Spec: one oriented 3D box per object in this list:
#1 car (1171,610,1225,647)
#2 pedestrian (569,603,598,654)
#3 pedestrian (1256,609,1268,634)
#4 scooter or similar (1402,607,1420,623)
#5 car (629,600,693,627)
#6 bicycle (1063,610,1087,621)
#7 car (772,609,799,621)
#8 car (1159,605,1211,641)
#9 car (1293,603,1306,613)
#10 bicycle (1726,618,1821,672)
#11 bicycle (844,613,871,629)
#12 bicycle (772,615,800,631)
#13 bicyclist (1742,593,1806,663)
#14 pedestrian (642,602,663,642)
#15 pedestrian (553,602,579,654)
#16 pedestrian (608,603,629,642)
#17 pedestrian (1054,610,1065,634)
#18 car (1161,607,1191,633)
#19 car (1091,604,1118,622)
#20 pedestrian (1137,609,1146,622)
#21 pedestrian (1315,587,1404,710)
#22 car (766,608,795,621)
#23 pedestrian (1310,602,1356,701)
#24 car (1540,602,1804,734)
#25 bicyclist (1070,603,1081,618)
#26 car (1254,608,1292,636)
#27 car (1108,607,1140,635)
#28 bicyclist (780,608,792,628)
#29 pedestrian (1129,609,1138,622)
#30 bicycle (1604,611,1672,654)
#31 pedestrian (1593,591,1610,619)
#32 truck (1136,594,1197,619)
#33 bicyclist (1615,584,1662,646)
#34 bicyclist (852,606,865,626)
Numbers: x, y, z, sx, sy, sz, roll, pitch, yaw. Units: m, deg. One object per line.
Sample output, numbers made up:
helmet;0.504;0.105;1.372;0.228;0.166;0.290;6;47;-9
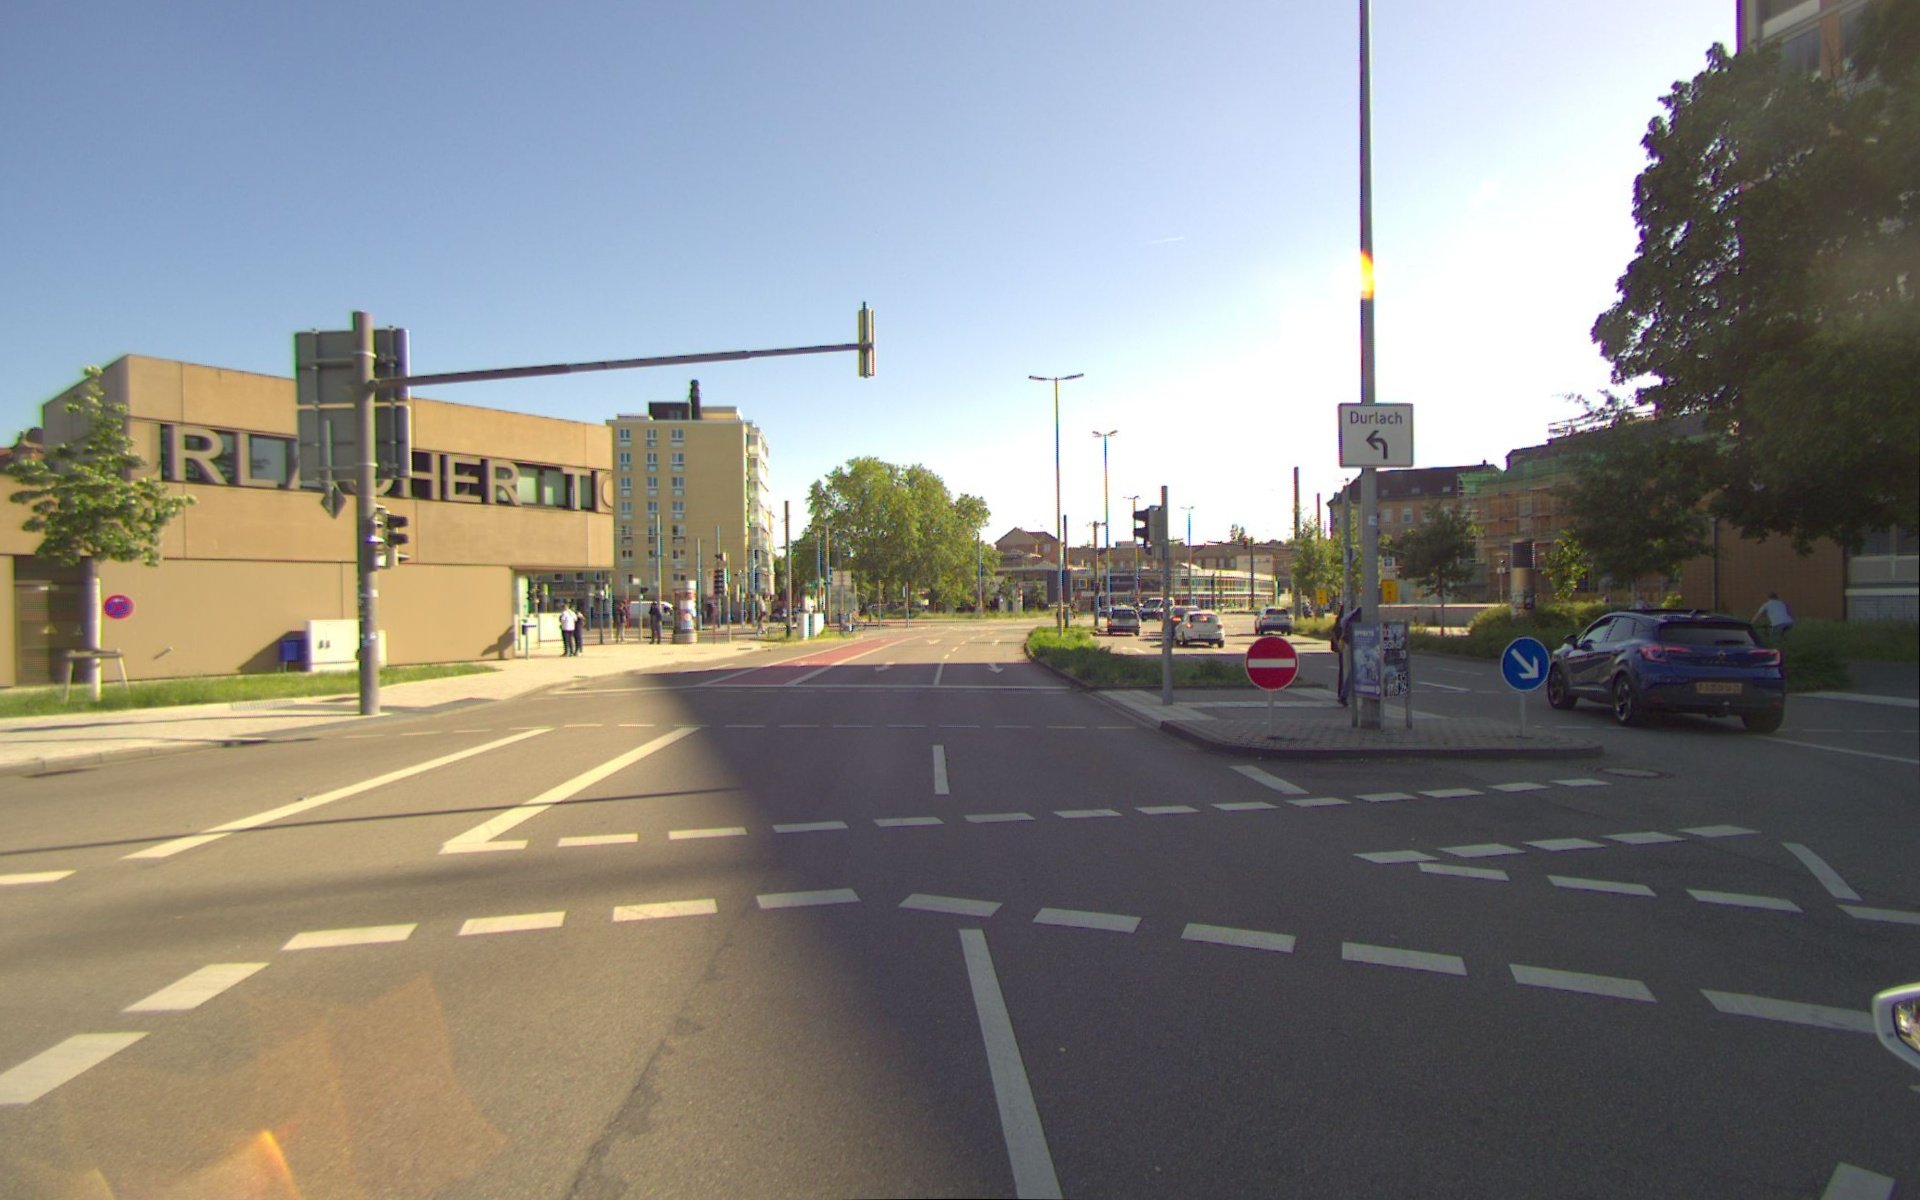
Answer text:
car;9.895;1.172;41.954;1.662;1.455;3.738;-1;0;5
pedestrian;-13.072;0.994;34.870;0.630;1.746;0.749;0;-2;11
pedestrian;21.861;1.546;72.629;0.586;1.746;0.868;-1;-2;36
scooter or similar;29.700;0.994;66.167;0.460;1.026;1.247;-1;2;-11
car;-27.688;1.275;93.029;5.402;2.443;1.998;0;0;-7
bicycle;13.138;1.737;114.739;2.605;1.205;0.946;0;2;-7
car;-21.531;1.828;123.936;3.214;1.334;1.522;0;2;-10
car;10.957;1.095;49.128;1.950;1.645;4.380;-1;0;6
car;58.767;1.406;173.684;1.753;1.565;3.636;1;2;25
bicycle;19.339;1.047;23.939;0.704;1.180;1.870;-1;0;-2
bicycle;-7.595;1.564;74.560;1.917;1.180;0.643;0;0;8
bicycle;-13.003;1.719;74.969;1.917;1.180;0.643;0;0;8
bicyclist;19.349;0.651;23.894;0.708;1.638;0.977;-1;0;-2
pedestrian;-13.818;0.988;45.122;0.642;1.765;0.781;2;0;-39
pedestrian;-13.249;0.944;33.762;0.591;1.746;0.781;2;-2;-39
pedestrian;-15.476;1.006;45.545;0.642;1.746;0.781;2;-2;-39
pedestrian;6.847;1.494;69.300;0.564;1.633;0.567;-1;2;-17
car;13.196;1.183;61.415;1.695;1.462;3.801;2;0;11
car;17.755;1.575;123.373;1.964;2.041;3.992;1;2;29
pedestrian;20.904;1.768;115.637;0.851;1.427;0.691;-1;2;-19
pedestrian;6.224;0.737;15.660;1.081;1.857;0.751;0;0;-25
car;-21.400;1.714;119.759;3.381;1.530;1.690;0;0;-9
pedestrian;6.307;0.852;17.002;0.668;1.634;0.719;0;0;15
car;10.098;0.876;14.634;1.845;1.639;3.799;-1;0;14
bicyclist;13.192;1.209;114.716;1.046;1.606;0.946;0;2;-7
car;18.644;1.287;59.999;1.845;1.639;3.627;1;0;13
car;8.960;1.108;54.934;1.695;1.462;3.801;0;0;9
bicyclist;-12.978;1.349;74.967;0.761;1.463;0.644;0;0;8
pedestrian;19.887;1.734;115.265;0.851;1.427;0.691;-1;2;-19
bicycle;19.959;0.936;29.600;0.733;1.180;1.870;-1;0;0
pedestrian;41.746;0.302;65.411;0.773;1.776;0.538;1;2;16
truck;19.655;0.591;95.349;6.837;2.344;2.192;0;0;-44
bicyclist;19.951;0.425;29.540;0.708;1.786;0.977;-1;0;0
bicyclist;-7.528;1.196;74.547;0.761;1.463;0.644;0;0;9
